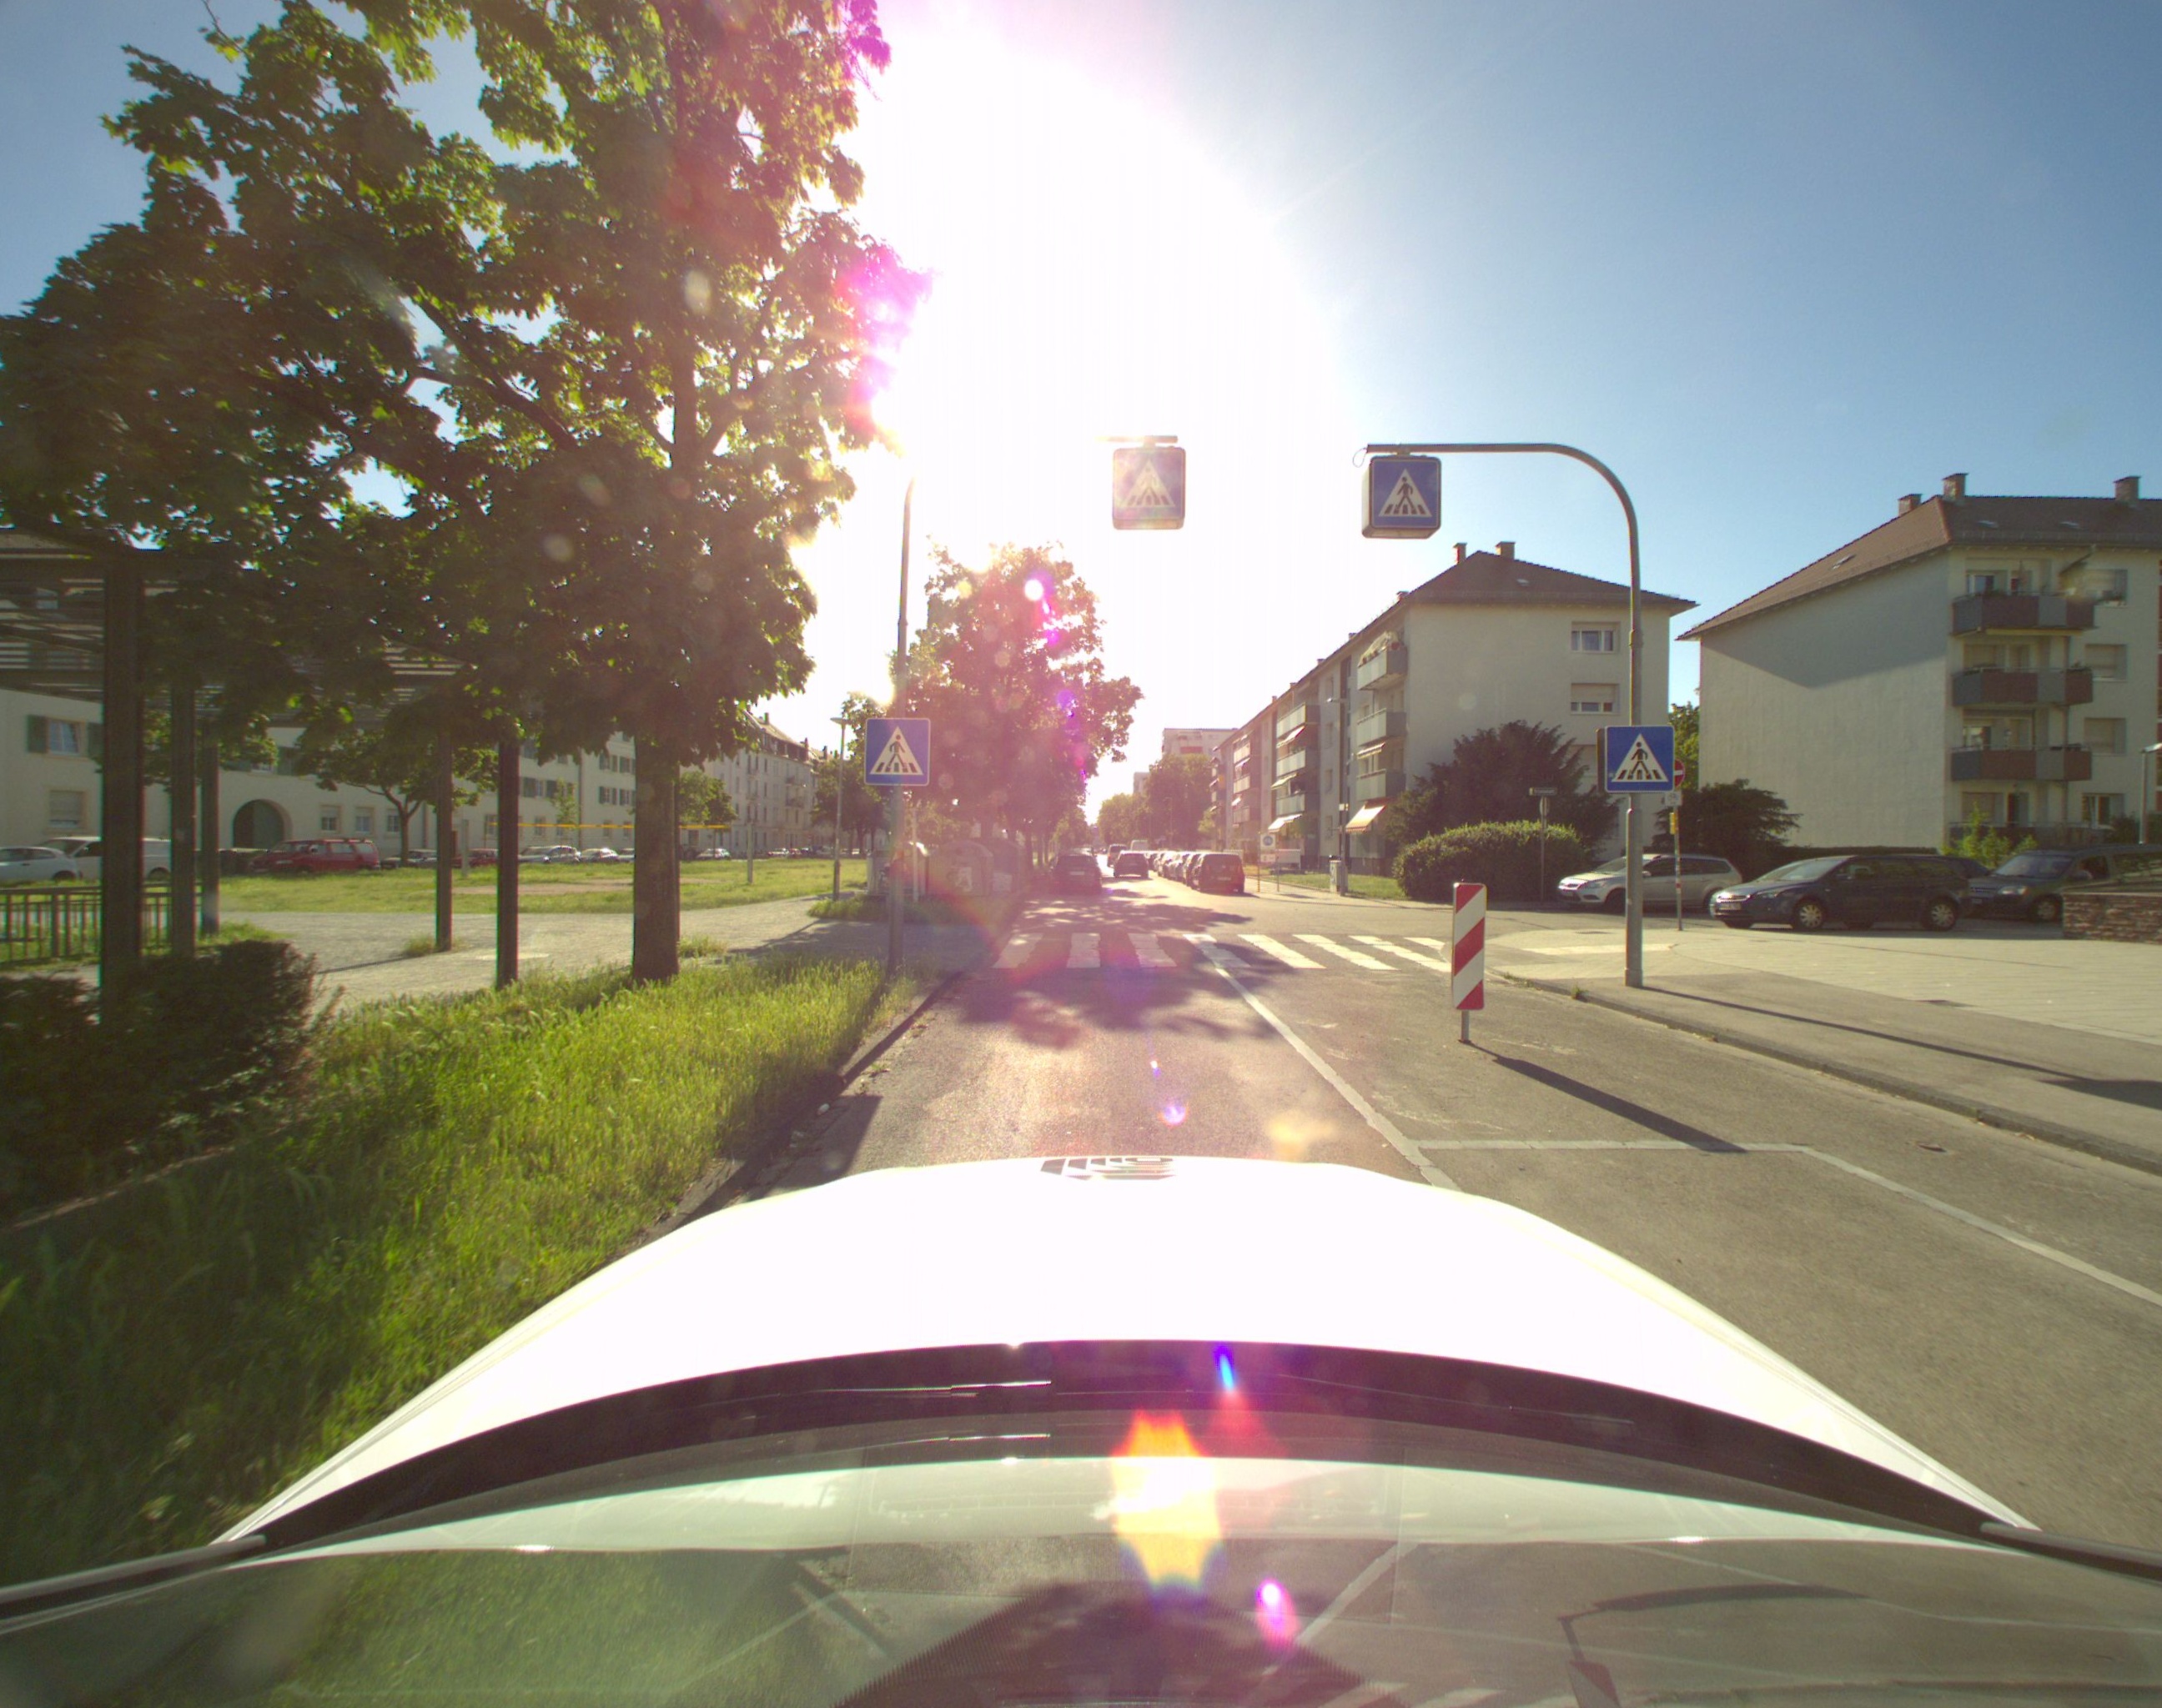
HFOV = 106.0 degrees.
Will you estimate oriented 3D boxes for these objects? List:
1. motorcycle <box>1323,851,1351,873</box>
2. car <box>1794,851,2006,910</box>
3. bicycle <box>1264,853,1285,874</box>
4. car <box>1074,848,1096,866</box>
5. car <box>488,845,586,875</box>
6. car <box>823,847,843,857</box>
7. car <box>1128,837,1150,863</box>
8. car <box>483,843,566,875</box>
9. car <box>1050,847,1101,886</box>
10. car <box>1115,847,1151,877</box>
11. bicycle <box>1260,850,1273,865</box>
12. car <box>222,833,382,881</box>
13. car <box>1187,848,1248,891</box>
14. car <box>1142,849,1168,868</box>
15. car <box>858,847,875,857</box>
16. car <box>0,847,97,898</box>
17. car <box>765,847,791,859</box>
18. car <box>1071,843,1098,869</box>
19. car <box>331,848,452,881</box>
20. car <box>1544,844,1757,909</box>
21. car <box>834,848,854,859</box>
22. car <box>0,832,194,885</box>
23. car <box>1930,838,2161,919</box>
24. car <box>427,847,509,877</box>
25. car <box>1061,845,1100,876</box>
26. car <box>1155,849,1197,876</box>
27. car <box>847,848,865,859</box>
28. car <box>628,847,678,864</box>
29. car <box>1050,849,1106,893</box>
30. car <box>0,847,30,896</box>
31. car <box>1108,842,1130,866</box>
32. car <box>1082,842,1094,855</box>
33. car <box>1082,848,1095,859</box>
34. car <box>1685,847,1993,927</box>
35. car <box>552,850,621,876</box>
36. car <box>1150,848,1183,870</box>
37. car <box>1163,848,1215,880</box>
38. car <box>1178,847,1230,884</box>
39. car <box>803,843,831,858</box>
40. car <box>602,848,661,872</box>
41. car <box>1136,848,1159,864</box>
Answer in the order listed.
[{"bbox_3d":[13.753,0.438,43.768,0.582,1.151,2.031,0,0,-8],"label":"motorcycle"},{"bbox_3d":[21.849,0.678,21.834,3.959,1.511,1.822,0,0,-2],"label":"car"},{"bbox_3d":[10.372,0.505,43.621,0.717,1.077,1.897,1,0,2],"label":"bicycle"},{"bbox_3d":[0.308,0.276,71.319,1.750,1.492,4.666,-1,0,-1],"label":"car"},{"bbox_3d":[-34.674,0.355,52.144,2.441,1.820,5.456,0,0,2],"label":"car"},{"bbox_3d":[-34.055,-0.270,111.835,1.689,1.279,3.523,0,0,-2],"label":"car"},{"bbox_3d":[6.411,-0.434,90.095,2.134,2.713,6.844,-1,0,2],"label":"car"},{"bbox_3d":[-40.321,0.353,59.222,2.524,2.216,5.255,0,0,-1],"label":"car"},{"bbox_3d":[-0.310,0.484,34.908,1.988,1.516,5.154,-1,0,-2],"label":"car"},{"bbox_3d":[2.819,0.426,44.769,1.773,1.531,4.002,2,0,2],"label":"car"},{"bbox_3d":[14.002,0.263,61.456,0.521,1.071,2.009,-2,0,0],"label":"bicycle"},{"bbox_3d":[-34.812,0.106,36.659,2.214,1.984,5.254,0,0,-2],"label":"car"},{"bbox_3d":[5.072,0.539,30.698,1.653,1.474,3.793,2,0,1],"label":"car"},{"bbox_3d":[6.018,0.327,66.632,1.694,1.435,4.470,-1,0,-1],"label":"car"},{"bbox_3d":[-33.849,-0.266,128.554,1.627,1.549,4.351,0,0,-2],"label":"car"},{"bbox_3d":[-34.557,0.576,25.718,1.783,1.583,4.234,0,0,-1],"label":"car"},{"bbox_3d":[-39.719,-0.129,106.944,1.989,1.586,4.447,0,0,-3],"label":"car"},{"bbox_3d":[0.262,0.155,58.058,1.858,1.784,4.991,0,0,1],"label":"car"},{"bbox_3d":[-40.268,0.569,47.790,2.441,1.820,5.260,0,0,2],"label":"car"},{"bbox_3d":[14.976,0.572,21.580,4.395,1.623,1.913,0,0,-2],"label":"car"},{"bbox_3d":[-34.054,-0.035,117.141,1.689,1.561,4.694,0,0,-2],"label":"car"},{"bbox_3d":[-40.135,0.148,33.236,2.214,1.984,5.254,0,0,-2],"label":"car"},{"bbox_3d":[23.074,0.542,19.213,4.130,1.790,1.904,0,0,0],"label":"car"},{"bbox_3d":[-40.197,0.481,53.574,2.257,1.905,4.165,0,0,-1],"label":"car"},{"bbox_3d":[0.037,0.328,45.711,2.018,1.625,4.759,-1,0,2],"label":"car"},{"bbox_3d":[5.427,0.444,47.119,1.837,1.472,5.064,0,0,0],"label":"car"},{"bbox_3d":[-34.068,-0.076,123.207,1.689,1.526,4.078,0,0,-2],"label":"car"},{"bbox_3d":[-39.959,0.131,76.188,1.987,1.485,4.957,0,0,0],"label":"car"},{"bbox_3d":[-0.167,0.553,29.139,1.830,1.452,4.965,0,0,-2],"label":"car"},{"bbox_3d":[-40.118,0.639,28.003,1.988,1.763,4.642,0,0,-2],"label":"car"},{"bbox_3d":[3.302,-0.022,71.638,1.887,1.991,4.012,-1,0,2],"label":"car"},{"bbox_3d":[1.290,-1.066,153.307,2.091,2.496,4.128,0,0,2],"label":"car"},{"bbox_3d":[1.093,-0.034,116.181,1.741,1.425,3.917,-2,0,2],"label":"car"},{"bbox_3d":[15.060,0.631,16.353,4.534,1.474,1.906,0,0,-2],"label":"car"},{"bbox_3d":[-34.638,0.586,57.204,2.308,1.750,4.011,0,0,2],"label":"car"},{"bbox_3d":[6.045,0.347,58.050,1.744,1.499,3.857,0,0,-3],"label":"car"},{"bbox_3d":[5.459,0.465,41.733,1.869,1.533,4.488,0,0,-3],"label":"car"},{"bbox_3d":[5.379,0.461,36.173,1.763,1.529,4.559,0,0,2],"label":"car"},{"bbox_3d":[-34.443,-0.447,106.456,2.076,1.872,5.094,0,0,-2],"label":"car"},{"bbox_3d":[-34.611,0.435,62.887,2.230,1.820,4.255,0,0,-2],"label":"car"},{"bbox_3d":[6.311,0.204,77.440,1.871,1.475,4.141,0,0,1],"label":"car"}]
